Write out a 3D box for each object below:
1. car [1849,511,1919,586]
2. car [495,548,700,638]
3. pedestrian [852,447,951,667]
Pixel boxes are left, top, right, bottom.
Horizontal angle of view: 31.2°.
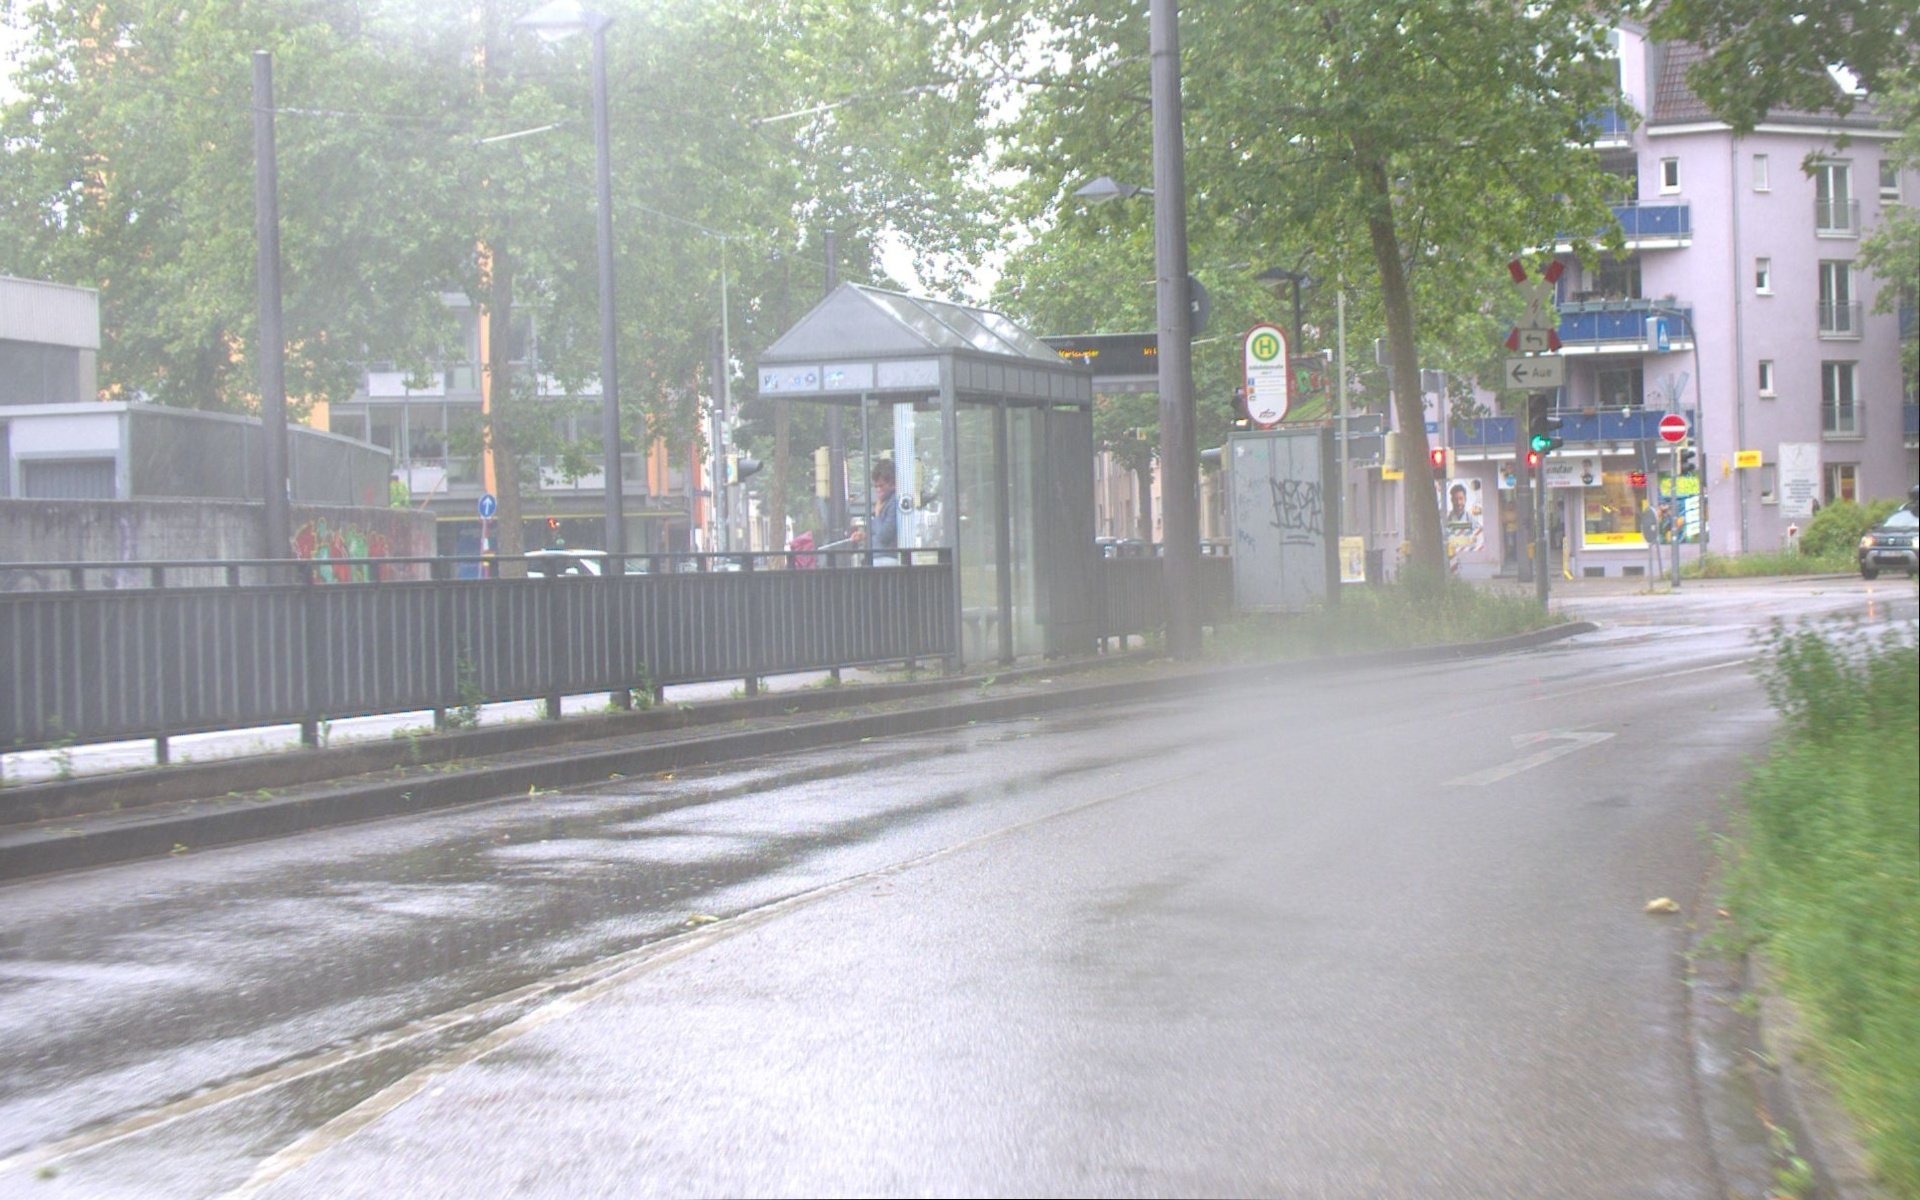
[{"bbox_3d":[20.966,-1.167,75.355,1.728,1.547,3.553,-3,0,34],"label":"car"},{"bbox_3d":[-7.652,-0.146,72.448,4.015,1.646,1.968,-3,0,40],"label":"car"},{"bbox_3d":[-0.474,-0.339,27.692,0.581,1.725,0.568,-3,0,-14],"label":"pedestrian"}]
